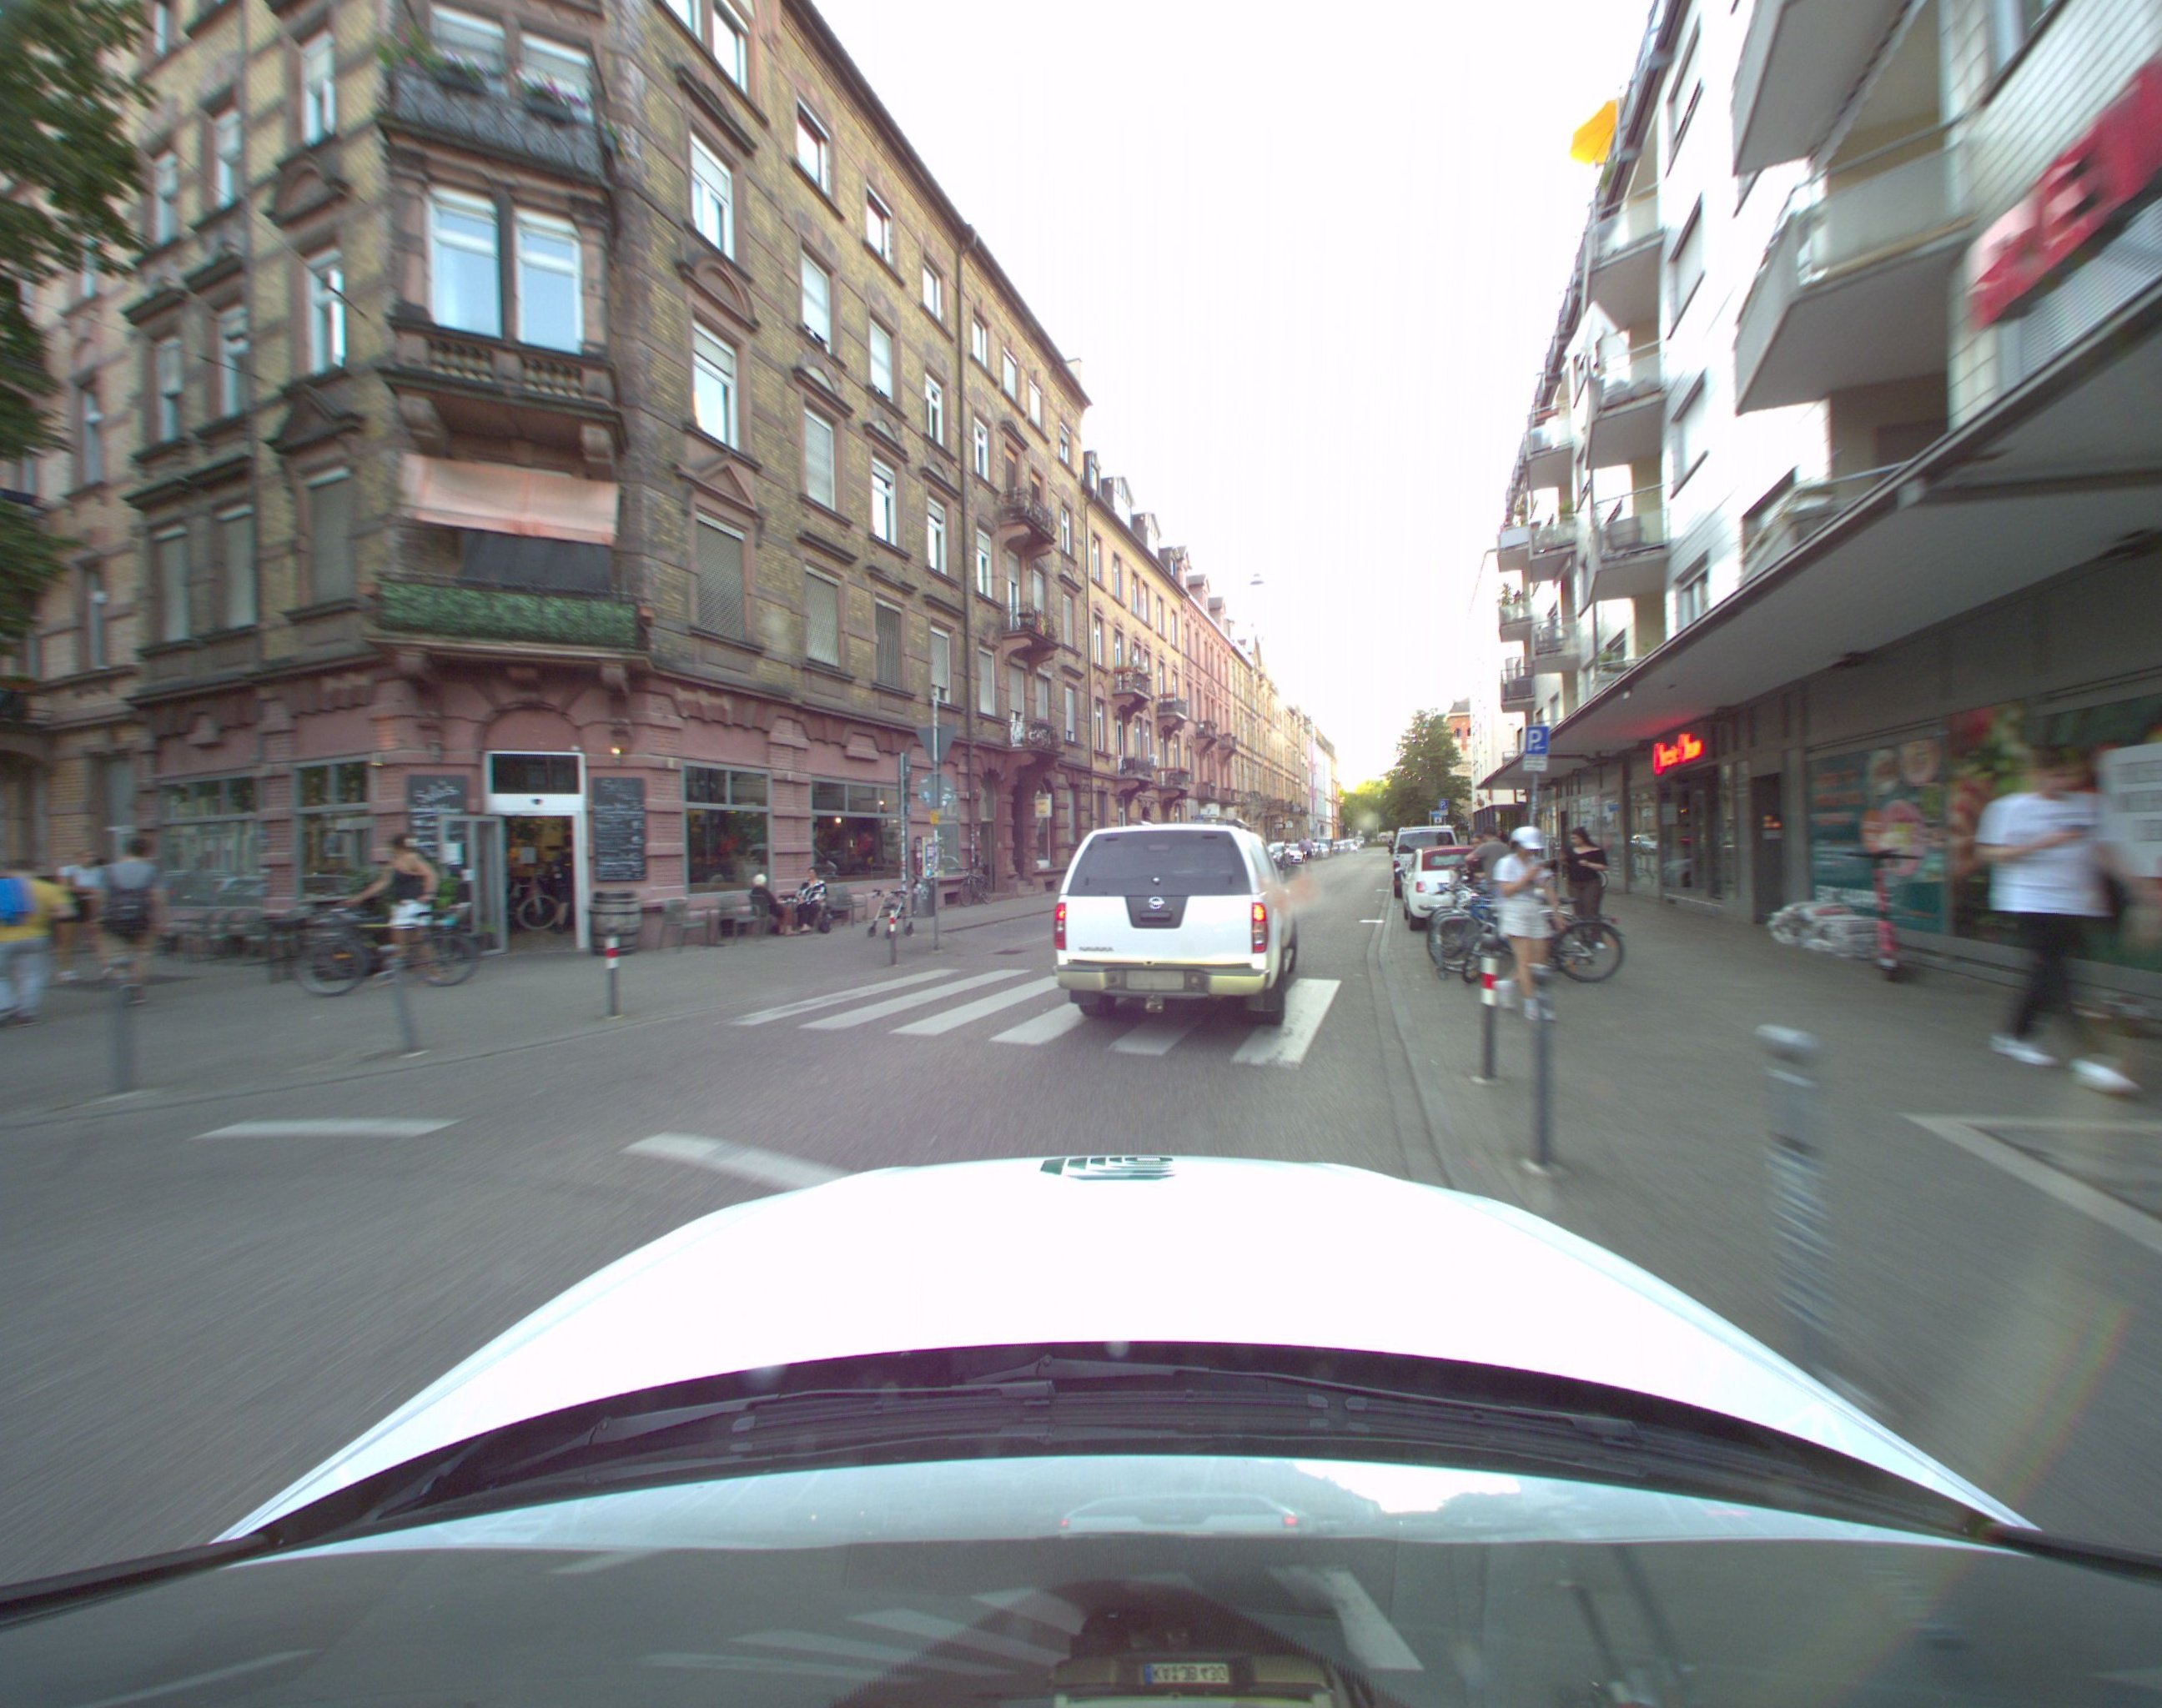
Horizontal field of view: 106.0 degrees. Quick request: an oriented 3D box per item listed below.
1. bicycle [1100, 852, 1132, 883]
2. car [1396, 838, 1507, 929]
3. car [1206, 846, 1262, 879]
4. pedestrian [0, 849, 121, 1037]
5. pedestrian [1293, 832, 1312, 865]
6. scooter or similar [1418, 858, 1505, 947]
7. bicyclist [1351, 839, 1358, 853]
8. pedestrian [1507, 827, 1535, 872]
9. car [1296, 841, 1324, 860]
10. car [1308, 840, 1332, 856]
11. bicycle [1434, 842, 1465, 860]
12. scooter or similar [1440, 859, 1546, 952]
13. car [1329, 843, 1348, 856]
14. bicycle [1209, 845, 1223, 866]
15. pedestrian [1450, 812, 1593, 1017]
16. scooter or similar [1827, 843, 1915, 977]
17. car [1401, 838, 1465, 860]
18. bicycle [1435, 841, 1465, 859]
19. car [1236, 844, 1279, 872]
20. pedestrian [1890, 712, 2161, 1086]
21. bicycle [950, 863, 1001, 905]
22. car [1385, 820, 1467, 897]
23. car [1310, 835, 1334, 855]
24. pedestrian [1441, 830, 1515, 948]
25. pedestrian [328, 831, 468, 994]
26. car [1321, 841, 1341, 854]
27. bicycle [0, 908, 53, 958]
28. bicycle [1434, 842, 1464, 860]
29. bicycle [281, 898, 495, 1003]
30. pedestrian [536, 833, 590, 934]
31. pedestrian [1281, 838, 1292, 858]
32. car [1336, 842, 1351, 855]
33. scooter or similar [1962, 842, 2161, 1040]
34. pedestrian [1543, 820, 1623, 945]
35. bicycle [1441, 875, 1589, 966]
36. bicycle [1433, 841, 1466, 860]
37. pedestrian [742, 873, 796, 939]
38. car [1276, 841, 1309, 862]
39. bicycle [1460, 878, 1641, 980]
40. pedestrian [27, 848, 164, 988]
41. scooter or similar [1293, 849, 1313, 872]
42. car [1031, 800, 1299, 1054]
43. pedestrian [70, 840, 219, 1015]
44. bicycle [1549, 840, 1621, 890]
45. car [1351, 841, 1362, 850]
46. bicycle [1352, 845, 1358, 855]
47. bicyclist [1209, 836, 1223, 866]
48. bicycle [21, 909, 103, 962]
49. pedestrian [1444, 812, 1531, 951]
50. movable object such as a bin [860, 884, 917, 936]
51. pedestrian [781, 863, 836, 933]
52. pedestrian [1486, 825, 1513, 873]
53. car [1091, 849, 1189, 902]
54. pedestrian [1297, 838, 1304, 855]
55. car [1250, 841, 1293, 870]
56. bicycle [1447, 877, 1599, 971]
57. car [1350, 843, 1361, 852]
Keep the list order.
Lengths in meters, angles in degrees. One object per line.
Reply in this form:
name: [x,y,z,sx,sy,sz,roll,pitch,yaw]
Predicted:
bicycle: [1.413,0.527,32.637,0.522,1.171,2.059,1,1,25]
car: [6.984,0.495,15.652,1.579,1.501,3.440,-3,0,19]
car: [7.196,0.341,37.950,1.708,1.420,4.606,0,1,22]
pedestrian: [-10.675,0.867,8.341,0.778,1.790,0.762,-1,3,20]
pedestrian: [11.237,-0.290,41.348,0.800,1.660,0.676,-2,0,22]
scooter or similar: [5.540,0.675,11.852,1.167,1.171,0.532,-4,2,-29]
bicyclist: [31.679,-0.918,94.221,0.639,1.621,0.922,-3,0,17]
pedestrian: [16.940,-0.174,31.358,0.702,1.665,0.749,-4,-2,41]
car: [18.964,-0.318,67.445,1.702,1.457,4.022,0,1,23]
car: [21.921,-0.580,74.601,1.769,1.422,4.508,1,1,20]
bicycle: [23.408,-0.192,51.768,1.706,1.054,0.657,-4,-1,25]
scooter or similar: [5.553,0.689,11.020,1.151,1.171,0.539,-3,1,14]
car: [30.557,-0.531,96.515,1.818,1.457,4.229,2,1,22]
bicycle: [7.936,0.096,47.874,0.704,1.196,1.745,-1,-1,7]
pedestrian: [3.842,0.501,7.172,0.660,1.651,0.883,-4,-1,-1]
scooter or similar: [7.833,0.512,8.062,1.170,1.203,0.531,-2,1,-42]
car: [27.775,-0.383,64.324,4.389,1.455,1.787,-4,0,16]
bicycle: [24.219,-0.264,53.425,1.706,1.118,0.657,-4,-1,25]
car: [9.534,0.199,43.870,1.571,1.420,3.717,0,1,23]
pedestrian: [5.624,0.230,4.775,0.754,1.912,1.196,-4,-1,22]
bicycle: [-2.861,0.810,22.307,0.421,1.053,1.909,-1,1,25]
car: [10.263,0.087,24.331,1.941,1.973,5.030,-3,0,22]
car: [23.587,-0.900,79.620,1.977,1.923,4.976,1,1,19]
pedestrian: [5.650,0.480,11.613,0.647,1.600,0.588,-3,-1,-19]
pedestrian: [-8.232,0.660,9.875,1.022,1.854,0.720,-2,2,-18]
car: [27.083,-0.707,88.115,1.722,1.418,4.804,0,0,21]
bicycle: [-21.003,1.533,16.030,1.477,0.889,0.602,-2,0,25]
bicycle: [23.693,-0.198,52.382,1.706,1.054,0.657,-4,-1,25]
bicycle: [-8.094,1.099,9.606,1.774,1.025,0.609,-2,2,-19]
pedestrian: [-9.048,0.495,14.247,0.666,1.695,0.652,-1,4,-25]
pedestrian: [17.837,-0.539,70.670,0.549,1.755,1.029,-1,-1,39]
car: [34.028,-0.733,105.646,1.622,1.565,3.801,0,1,21]
scooter or similar: [6.997,0.537,5.779,0.473,1.218,1.634,-3,-1,29]
pedestrian: [6.848,0.380,11.115,0.565,1.631,0.718,-4,0,-41]
bicycle: [5.126,0.788,9.677,1.465,1.002,0.514,-3,-2,28]
bicycle: [22.990,-0.216,50.824,1.712,1.132,0.580,-3,-1,10]
pedestrian: [-5.618,0.914,14.690,0.499,1.143,0.795,-1,-1,23]
car: [15.274,-0.206,58.683,1.743,1.411,4.533,0,1,22]
bicycle: [4.882,0.787,8.570,1.535,1.001,0.513,-3,-1,19]
pedestrian: [-13.528,0.850,11.194,1.038,1.811,0.759,-1,3,17]
scooter or similar: [11.261,0.328,41.349,0.800,1.104,1.178,-2,0,22]
car: [1.277,0.514,8.719,1.896,1.853,5.293,0,0,16]
pedestrian: [-10.496,0.781,9.144,0.877,1.828,0.763,0,3,23]
bicycle: [12.973,0.271,21.024,0.905,1.196,1.715,-4,-1,8]
car: [46.581,-1.426,137.761,1.684,1.552,4.042,0,1,19]
bicycle: [31.704,-0.421,94.207,0.639,1.081,2.178,-3,0,18]
bicyclist: [7.935,-0.181,47.905,0.704,1.729,0.844,-1,-1,6]
bicycle: [-19.161,1.513,15.314,1.477,0.889,0.602,-2,0,25]
pedestrian: [5.396,0.349,10.838,0.733,1.756,0.663,-3,-1,-1]
movable object such as a bin: [-3.556,1.017,15.070,0.755,0.916,0.733,-1,-1,18]
pedestrian: [-5.216,0.828,15.613,0.644,1.254,0.910,1,2,6]
pedestrian: [16.412,-0.199,31.970,0.701,1.828,0.866,-4,-2,38]
car: [1.872,0.580,24.689,1.678,1.420,3.877,0,1,24]
pedestrian: [23.798,-0.849,88.284,0.575,1.771,1.002,1,2,18]
car: [11.480,0.057,48.902,1.837,1.633,4.470,0,1,22]
bicycle: [4.967,0.792,9.230,1.406,0.984,0.513,-3,-1,19]
car: [44.599,-1.116,132.145,1.684,1.426,4.042,0,1,19]
